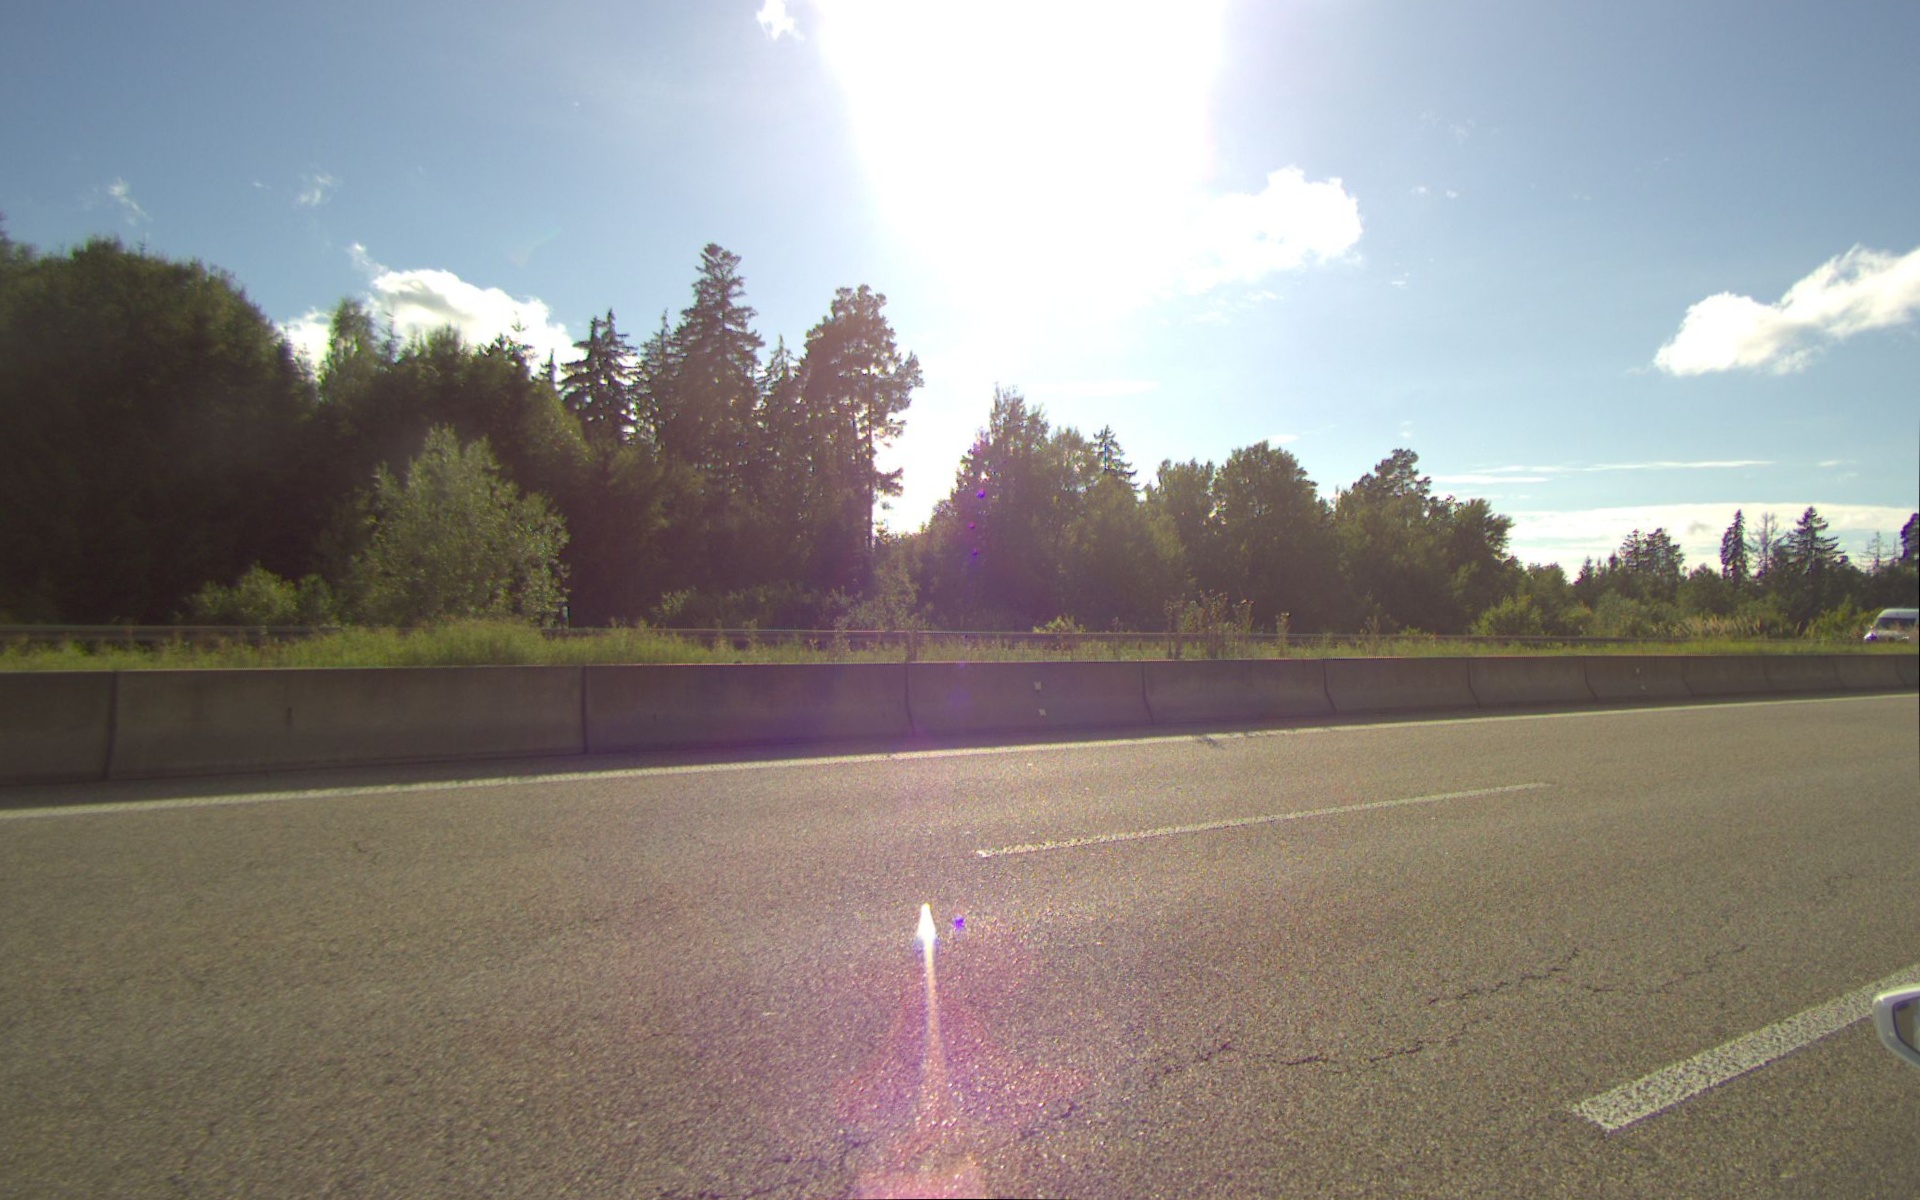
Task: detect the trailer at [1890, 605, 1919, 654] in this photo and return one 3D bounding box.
[{"bbox_3d":[55.932,1.710,57.641,5.498,2.719,2.259,1,0,-31],"label":"trailer"}]

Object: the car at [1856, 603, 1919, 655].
[{"bbox_3d":[51.955,1.612,55.283,5.820,2.719,2.258,1,0,-31],"label":"car"}]
